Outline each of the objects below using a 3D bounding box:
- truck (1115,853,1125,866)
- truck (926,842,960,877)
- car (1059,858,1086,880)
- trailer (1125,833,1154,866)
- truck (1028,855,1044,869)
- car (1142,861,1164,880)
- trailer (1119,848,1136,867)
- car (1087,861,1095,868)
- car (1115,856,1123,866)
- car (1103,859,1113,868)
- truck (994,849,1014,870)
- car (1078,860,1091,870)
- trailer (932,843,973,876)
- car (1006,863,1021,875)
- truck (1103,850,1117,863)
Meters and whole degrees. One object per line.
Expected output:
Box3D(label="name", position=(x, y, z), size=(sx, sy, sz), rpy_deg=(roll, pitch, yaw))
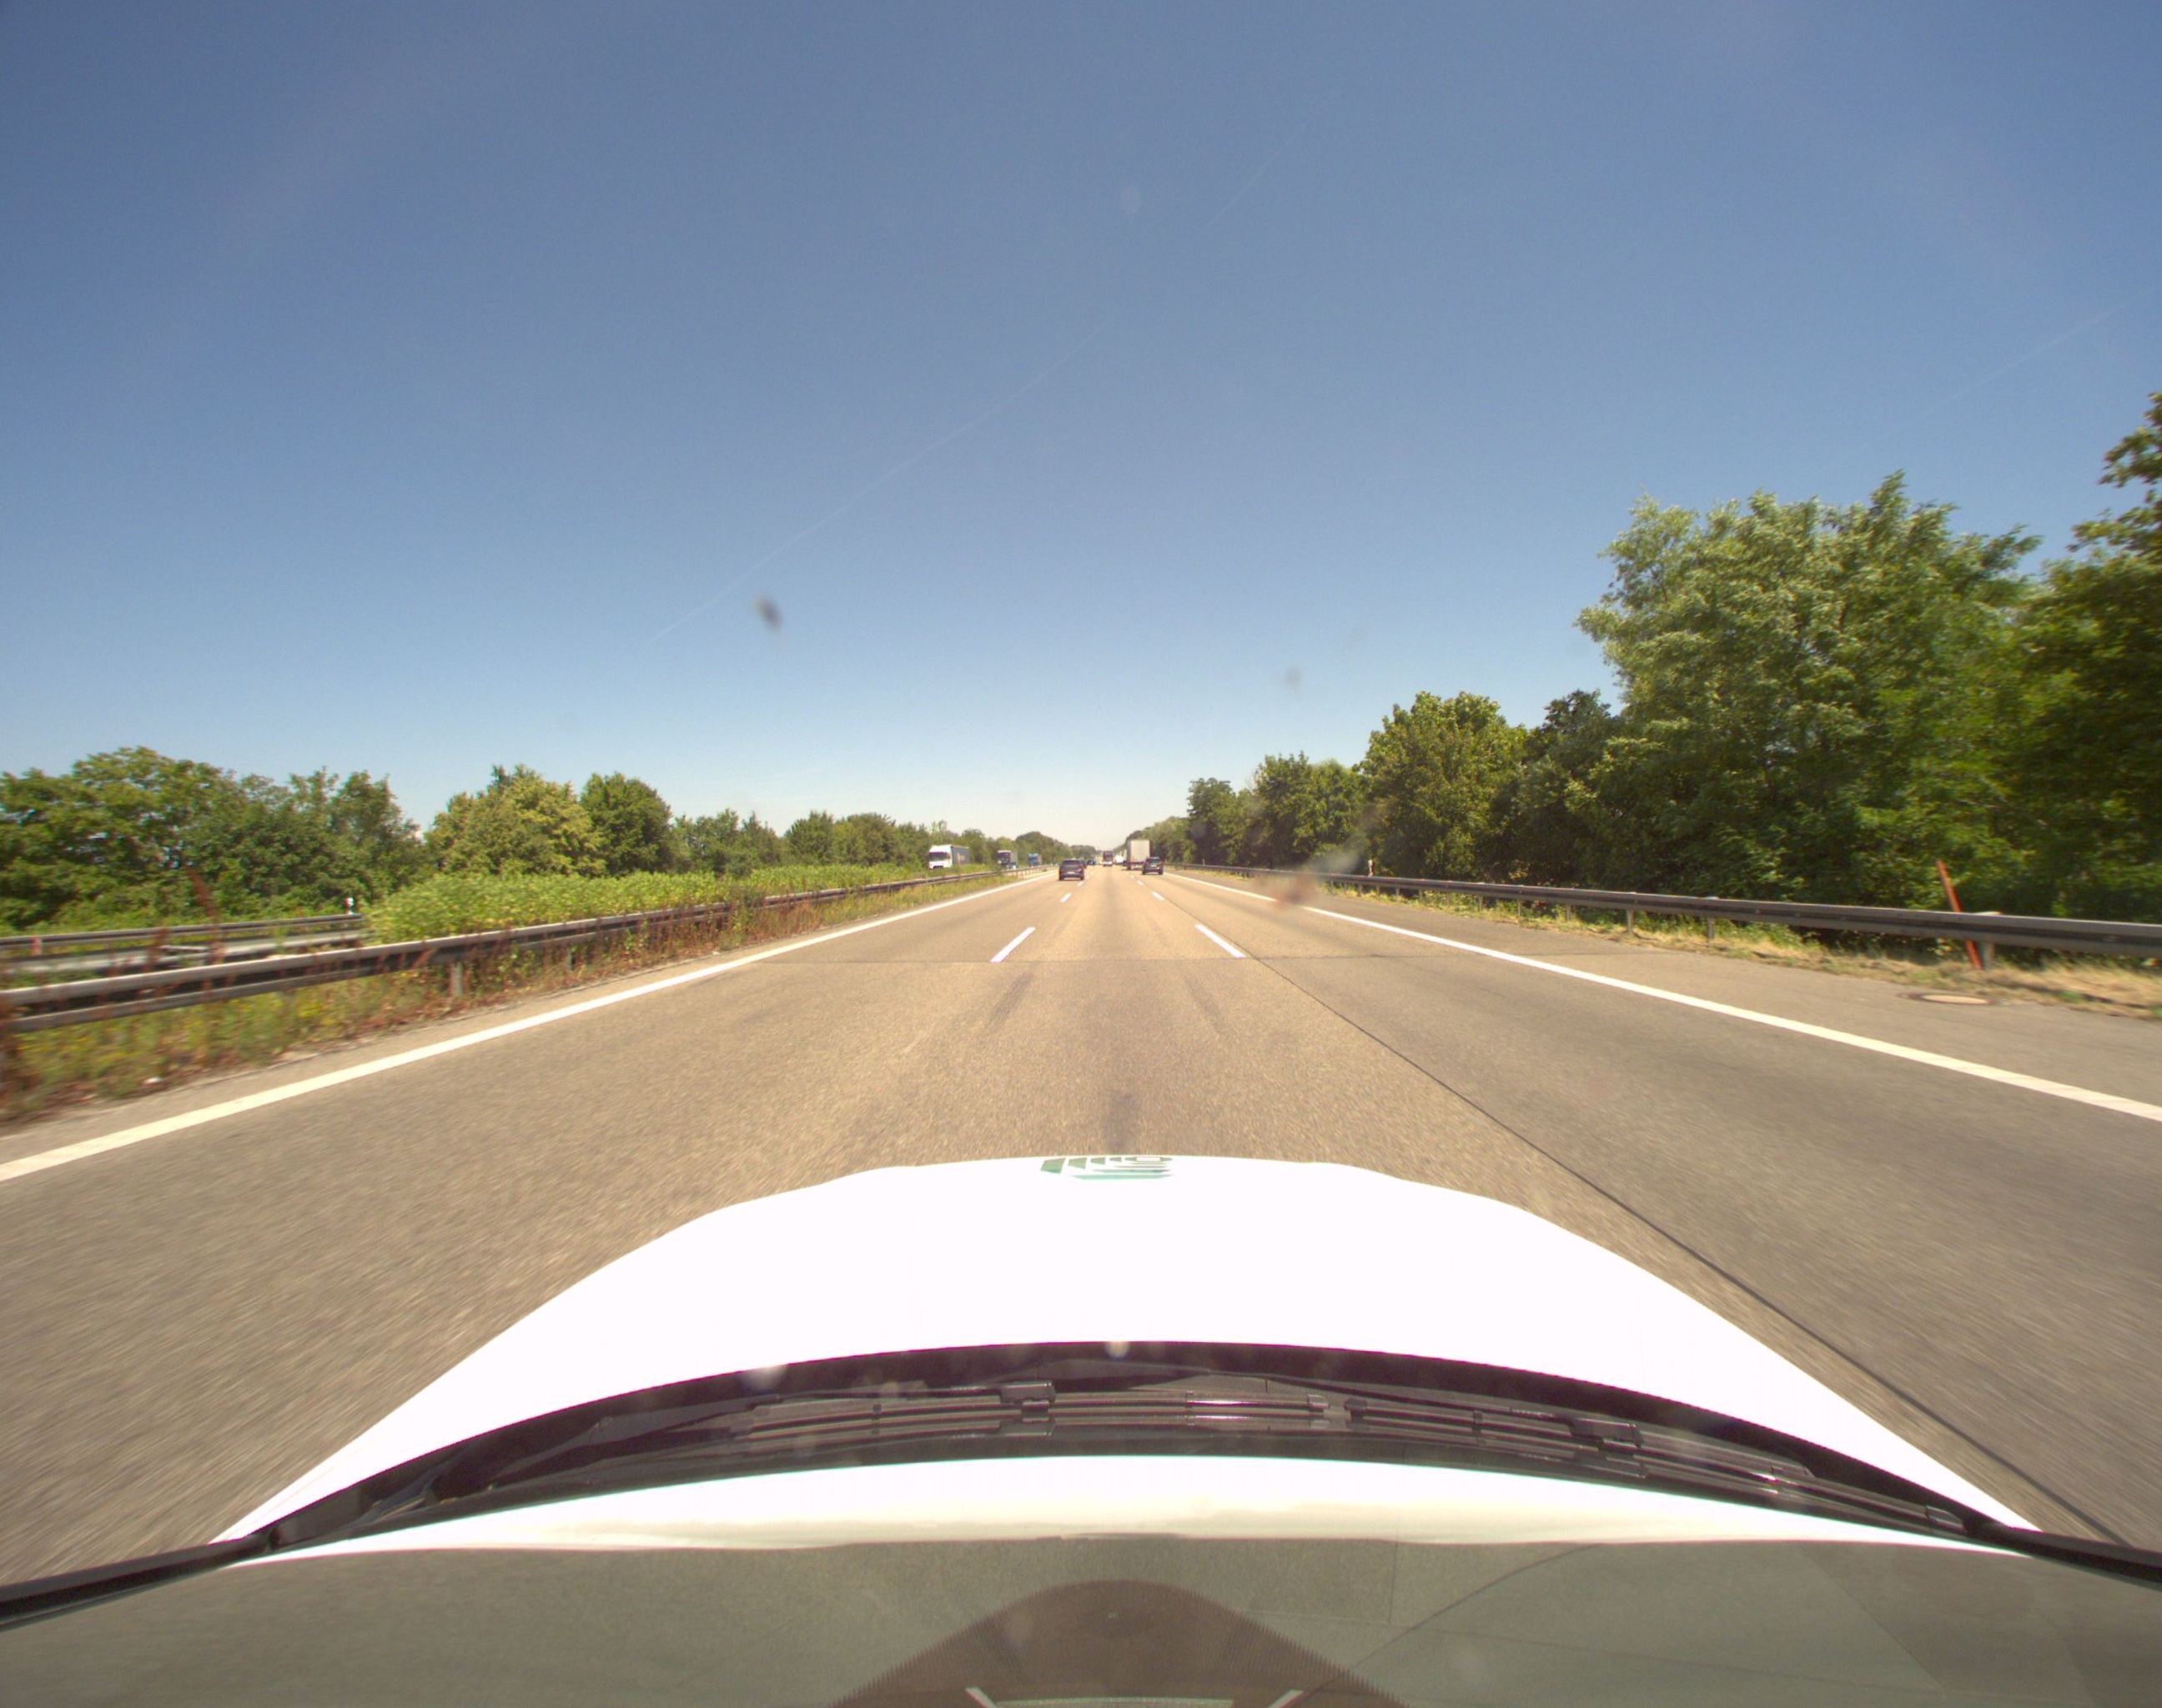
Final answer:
Box3D(label="truck", position=(11.408, 1.675, 236.152), size=(2.781, 3.726, 7.114), rpy_deg=(0, 0, 3))
Box3D(label="truck", position=(-17.727, 0.737, 105.158), size=(2.905, 4.129, 6.195), rpy_deg=(-4, -1, 2))
Box3D(label="car", position=(-0.580, 1.074, 59.616), size=(1.752, 1.531, 4.287), rpy_deg=(0, 0, 2))
Box3D(label="trailer", position=(7.774, -0.459, 110.219), size=(3.421, 4.181, 13.639), rpy_deg=(0, -1, 2))
Box3D(label="truck", position=(-12.745, 2.270, 232.725), size=(3.237, 3.986, 8.737), rpy_deg=(-1, 0, 4))
Box3D(label="car", position=(6.756, 1.532, 76.326), size=(1.838, 1.629, 4.137), rpy_deg=(-2, 0, 2))
Box3D(label="trailer", position=(9.749, 0.757, 171.292), size=(3.111, 3.926, 9.938), rpy_deg=(0, 0, 1))
Box3D(label="car", position=(2.364, 2.469, 196.934), size=(1.900, 1.531, 4.287), rpy_deg=(0, 0, 2))
Box3D(label="car", position=(9.704, 1.788, 206.644), size=(1.900, 2.425, 4.287), rpy_deg=(0, 0, 2))
Box3D(label="car", position=(5.240, 1.848, 158.249), size=(1.893, 1.531, 4.086), rpy_deg=(0, 0, 2))
Box3D(label="truck", position=(-15.665, 1.147, 166.529), size=(3.185, 4.129, 6.196), rpy_deg=(-1, 0, 2))
Box3D(label="car", position=(0.585, 1.799, 131.248), size=(1.893, 1.531, 4.086), rpy_deg=(0, 0, 2))
Box3D(label="trailer", position=(-17.510, 0.783, 112.170), size=(2.909, 4.186, 13.546), rpy_deg=(-4, -1, 2))
Box3D(label="car", position=(-12.284, 2.693, 147.814), size=(2.221, 1.989, 5.355), rpy_deg=(-1, 0, 0))
Box3D(label="truck", position=(8.251, 0.626, 230.166), size=(3.652, 3.726, 7.114), rpy_deg=(0, 0, 3))
